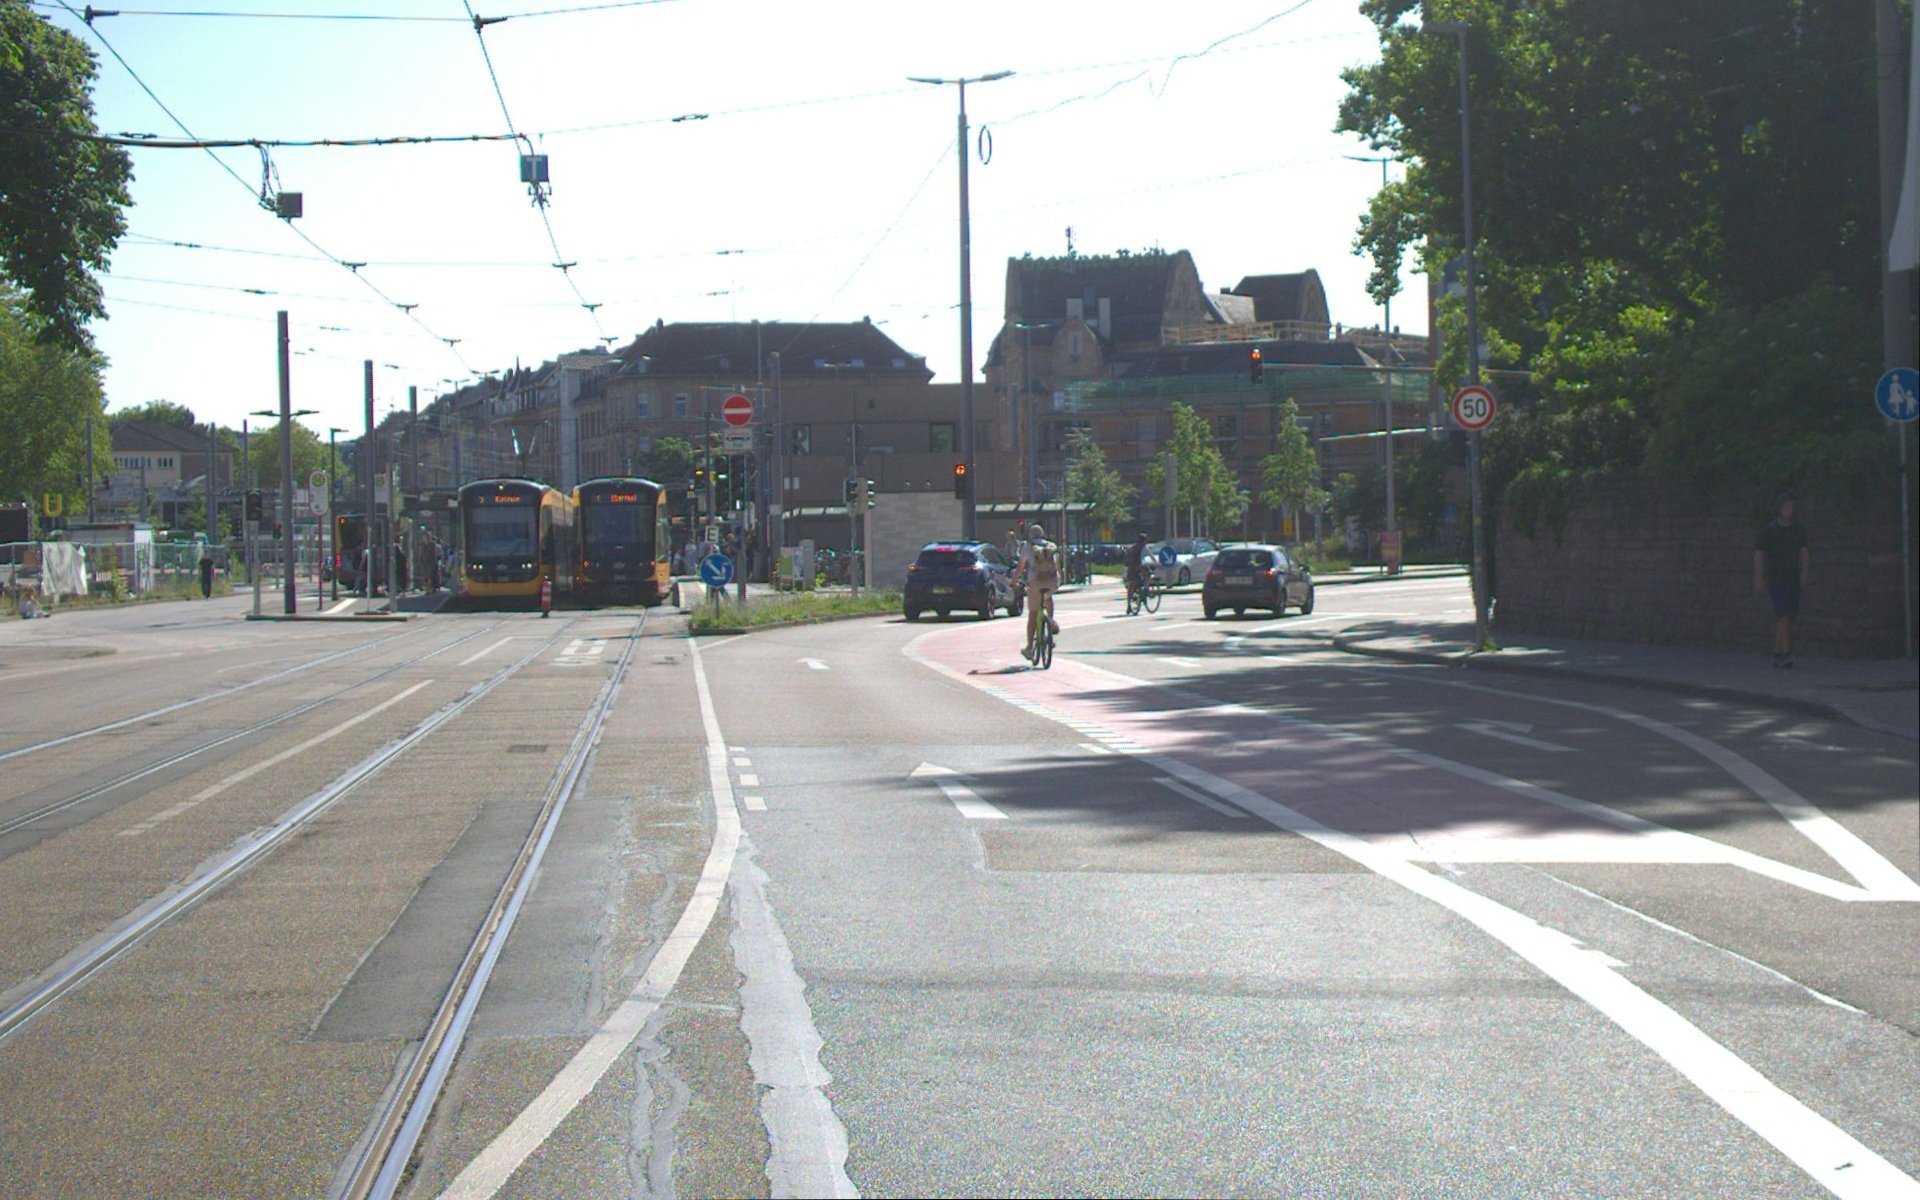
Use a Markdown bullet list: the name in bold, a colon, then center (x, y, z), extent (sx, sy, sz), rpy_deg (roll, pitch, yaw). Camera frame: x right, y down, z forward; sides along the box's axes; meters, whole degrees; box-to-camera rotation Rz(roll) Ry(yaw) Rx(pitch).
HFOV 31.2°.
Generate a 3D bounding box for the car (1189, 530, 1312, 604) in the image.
- **car**: center (6.173, -0.714, 72.727), extent (1.790, 1.506, 3.709), rpy_deg (1, 1, 18)

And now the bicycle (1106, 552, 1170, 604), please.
- **bicycle**: center (3.850, -0.490, 74.109), extent (0.705, 1.051, 2.311), rpy_deg (2, 2, 20)

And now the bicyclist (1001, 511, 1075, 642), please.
- **bicyclist**: center (1.014, -0.318, 44.547), extent (0.705, 1.669, 1.100), rpy_deg (1, 1, 15)

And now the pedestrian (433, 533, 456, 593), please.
- **pedestrian**: center (-15.729, -1.138, 104.971), extent (0.626, 1.821, 0.662), rpy_deg (-1, 1, -6)

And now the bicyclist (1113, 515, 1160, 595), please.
- **bicyclist**: center (3.795, -0.970, 73.918), extent (0.705, 1.694, 0.986), rpy_deg (2, 2, 20)

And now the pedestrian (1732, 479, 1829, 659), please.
- **pedestrian**: center (8.926, -0.340, 37.440), extent (0.637, 1.897, 1.135), rpy_deg (-3, 1, -3)

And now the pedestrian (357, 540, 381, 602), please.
- **pedestrian**: center (-17.519, -0.870, 101.963), extent (0.626, 1.821, 0.662), rpy_deg (-1, 1, -6)

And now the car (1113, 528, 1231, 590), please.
- **car**: center (5.810, -1.145, 93.843), extent (1.704, 1.638, 3.706), rpy_deg (1, 2, 31)

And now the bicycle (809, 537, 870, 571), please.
- **bicycle**: center (-3.992, -1.529, 113.905), extent (1.933, 1.099, 0.599), rpy_deg (-1, 1, -7)

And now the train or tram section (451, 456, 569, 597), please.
- **train or tram section**: center (-12.556, -2.103, 96.933), extent (2.741, 3.639, 13.789), rpy_deg (-1, 1, -5)

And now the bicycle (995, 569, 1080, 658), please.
- **bicycle**: center (1.012, 0.166, 44.562), extent (0.705, 1.101, 1.716), rpy_deg (1, 2, 15)

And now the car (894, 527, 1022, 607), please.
- **car**: center (-0.006, -0.707, 71.152), extent (1.790, 1.599, 3.710), rpy_deg (1, 1, 14)

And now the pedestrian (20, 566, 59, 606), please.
- **pedestrian**: center (-25.123, -0.383, 93.882), extent (0.897, 1.043, 0.655), rpy_deg (-1, 1, -4)

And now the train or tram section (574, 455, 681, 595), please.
- **train or tram section**: center (-9.418, -2.146, 97.559), extent (2.741, 3.639, 13.789), rpy_deg (-1, 1, -5)

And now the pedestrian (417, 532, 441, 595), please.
- **pedestrian**: center (-15.347, -1.061, 99.345), extent (0.626, 1.821, 0.662), rpy_deg (-1, 1, -6)
